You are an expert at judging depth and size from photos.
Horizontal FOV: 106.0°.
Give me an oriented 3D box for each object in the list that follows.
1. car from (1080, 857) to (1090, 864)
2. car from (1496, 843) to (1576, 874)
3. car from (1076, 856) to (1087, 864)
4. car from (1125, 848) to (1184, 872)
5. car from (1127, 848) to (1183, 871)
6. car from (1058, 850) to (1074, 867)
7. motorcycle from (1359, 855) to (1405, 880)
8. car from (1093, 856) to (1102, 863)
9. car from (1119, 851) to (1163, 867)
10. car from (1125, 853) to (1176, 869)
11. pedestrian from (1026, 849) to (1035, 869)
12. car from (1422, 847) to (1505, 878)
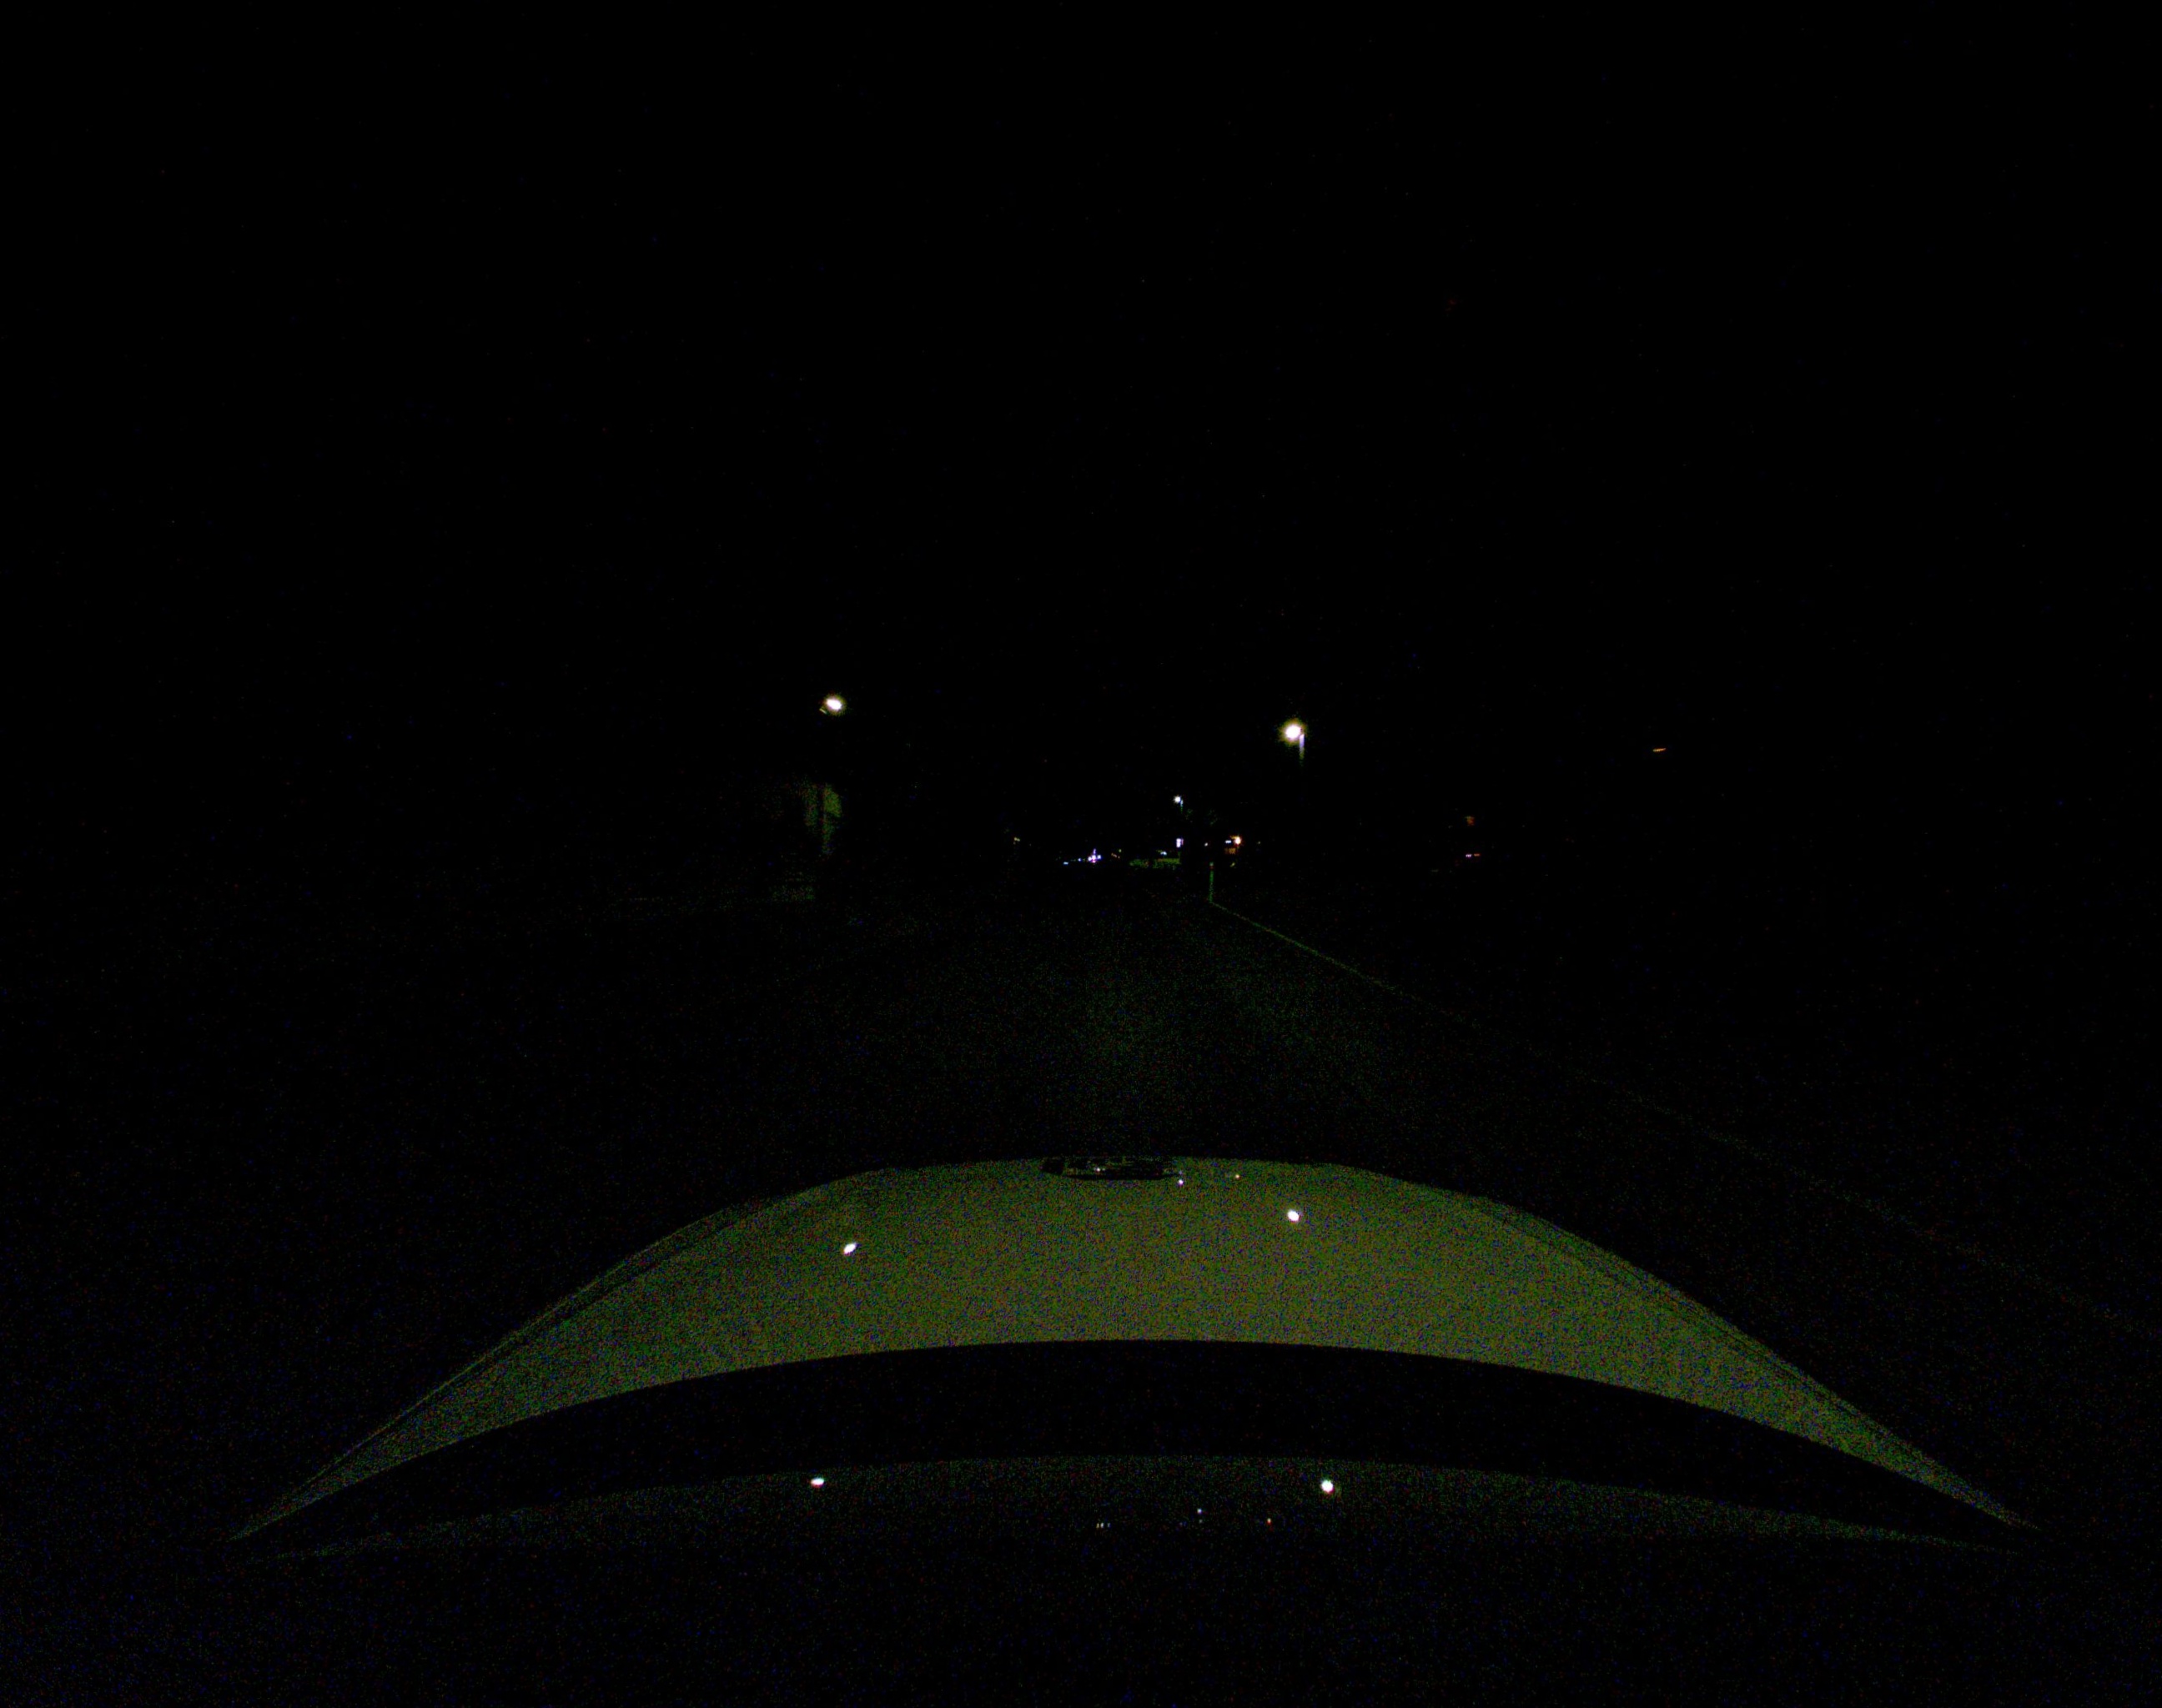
[{"bbox_3d":[0.696,1.128,147.323,1.677,1.331,3.599,0,0,0],"label":"car"},{"bbox_3d":[25.174,0.233,45.096,4.032,1.548,1.602,-2,0,-20],"label":"car"},{"bbox_3d":[0.054,1.003,130.996,1.677,1.331,3.599,0,0,0],"label":"car"},{"bbox_3d":[6.658,0.547,74.473,5.165,2.013,2.101,-1,0,0],"label":"car"},{"bbox_3d":[7.021,0.542,77.556,5.165,2.013,2.101,-1,0,0],"label":"car"},{"bbox_3d":[-1.776,0.565,98.284,1.819,1.986,4.465,2,0,0],"label":"car"},{"bbox_3d":[15.943,0.706,43.174,2.262,1.214,0.708,-2,0,-14],"label":"motorcycle"},{"bbox_3d":[3.615,1.223,183.357,1.920,1.649,3.821,-1,0,0],"label":"car"},{"bbox_3d":[7.310,0.619,99.267,5.149,1.887,2.108,-1,0,11],"label":"car"},{"bbox_3d":[7.282,0.750,85.533,5.165,1.594,2.101,-1,0,0],"label":"car"},{"bbox_3d":[-5.200,0.488,84.395,0.782,2.013,1.205,2,0,1],"label":"pedestrian"},{"bbox_3d":[20.400,0.431,43.471,3.625,1.479,1.855,-2,0,-14],"label":"car"}]
